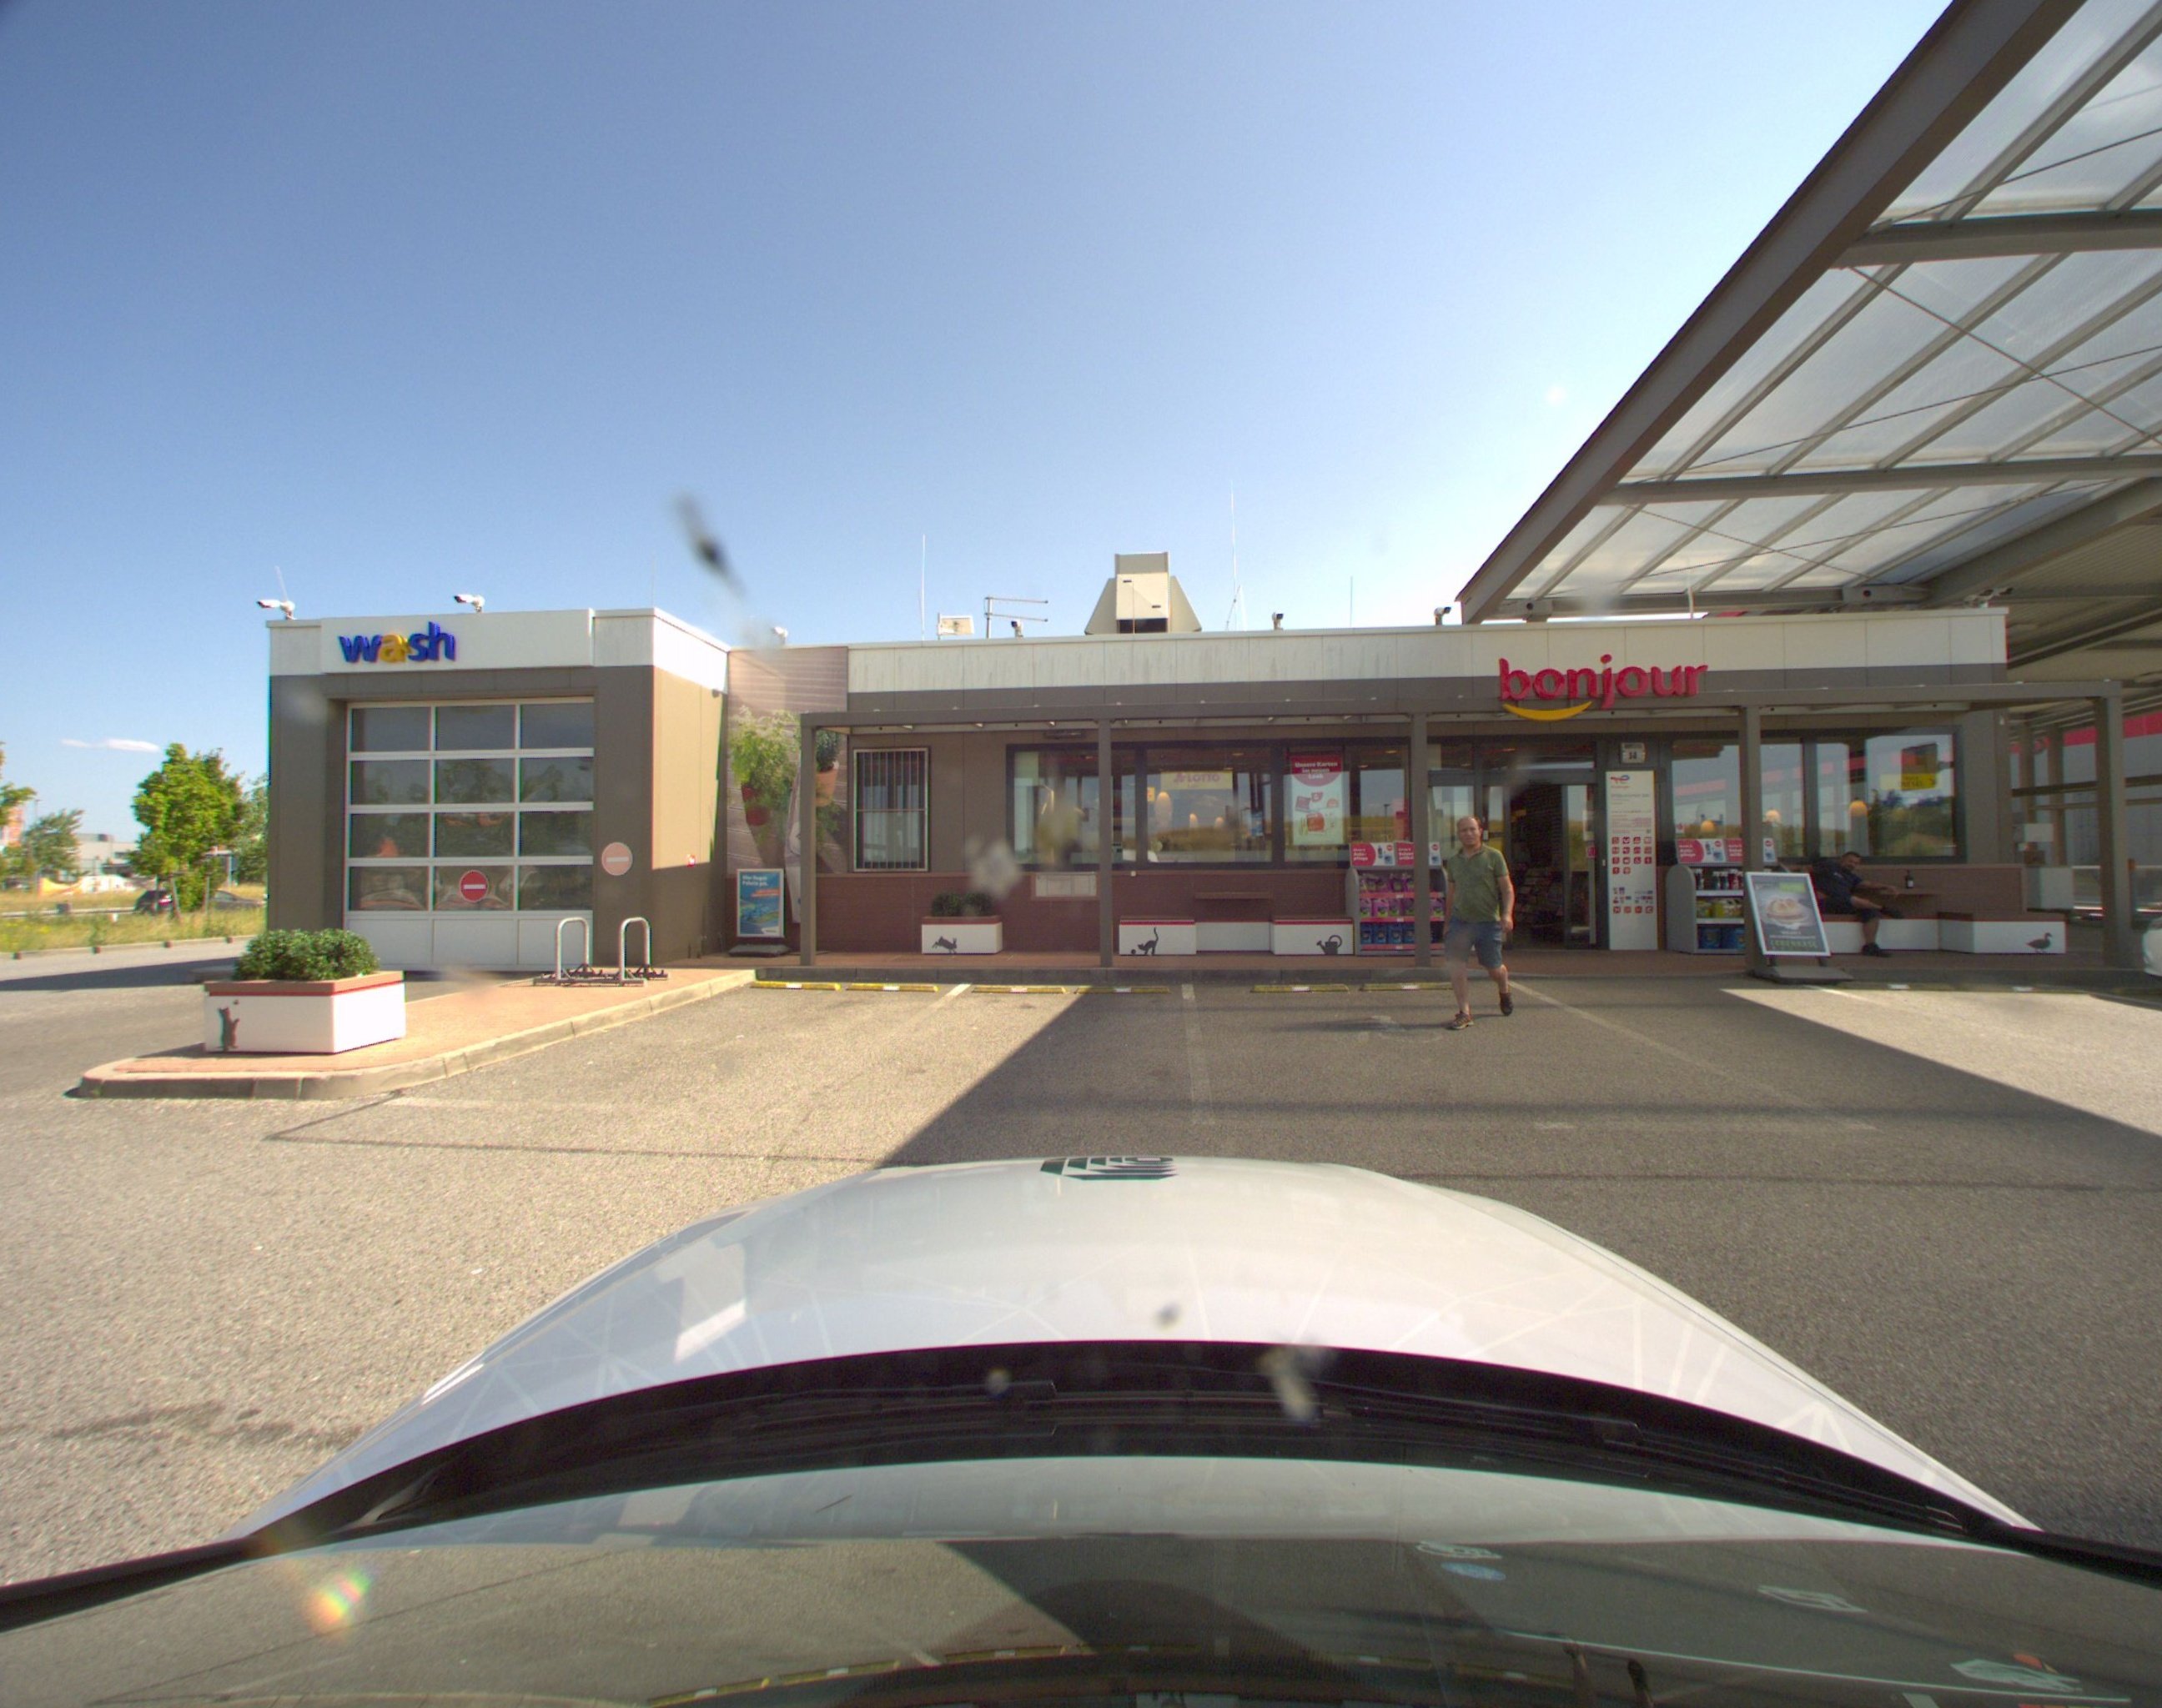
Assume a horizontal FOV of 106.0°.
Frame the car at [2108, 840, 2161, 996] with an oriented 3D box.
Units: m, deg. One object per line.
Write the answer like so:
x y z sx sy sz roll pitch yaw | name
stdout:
11.000 0.577 5.834 1.824 1.457 4.319 -1 0 -1 | car

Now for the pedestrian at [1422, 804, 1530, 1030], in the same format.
3.416 0.501 7.018 0.694 1.797 0.868 -1 -1 34 | pedestrian

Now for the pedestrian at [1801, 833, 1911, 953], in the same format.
9.567 0.469 10.080 0.698 1.432 0.673 -1 -1 4 | pedestrian

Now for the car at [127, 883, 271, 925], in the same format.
-42.764 2.383 39.657 1.776 1.751 4.587 -1 0 5 | car
